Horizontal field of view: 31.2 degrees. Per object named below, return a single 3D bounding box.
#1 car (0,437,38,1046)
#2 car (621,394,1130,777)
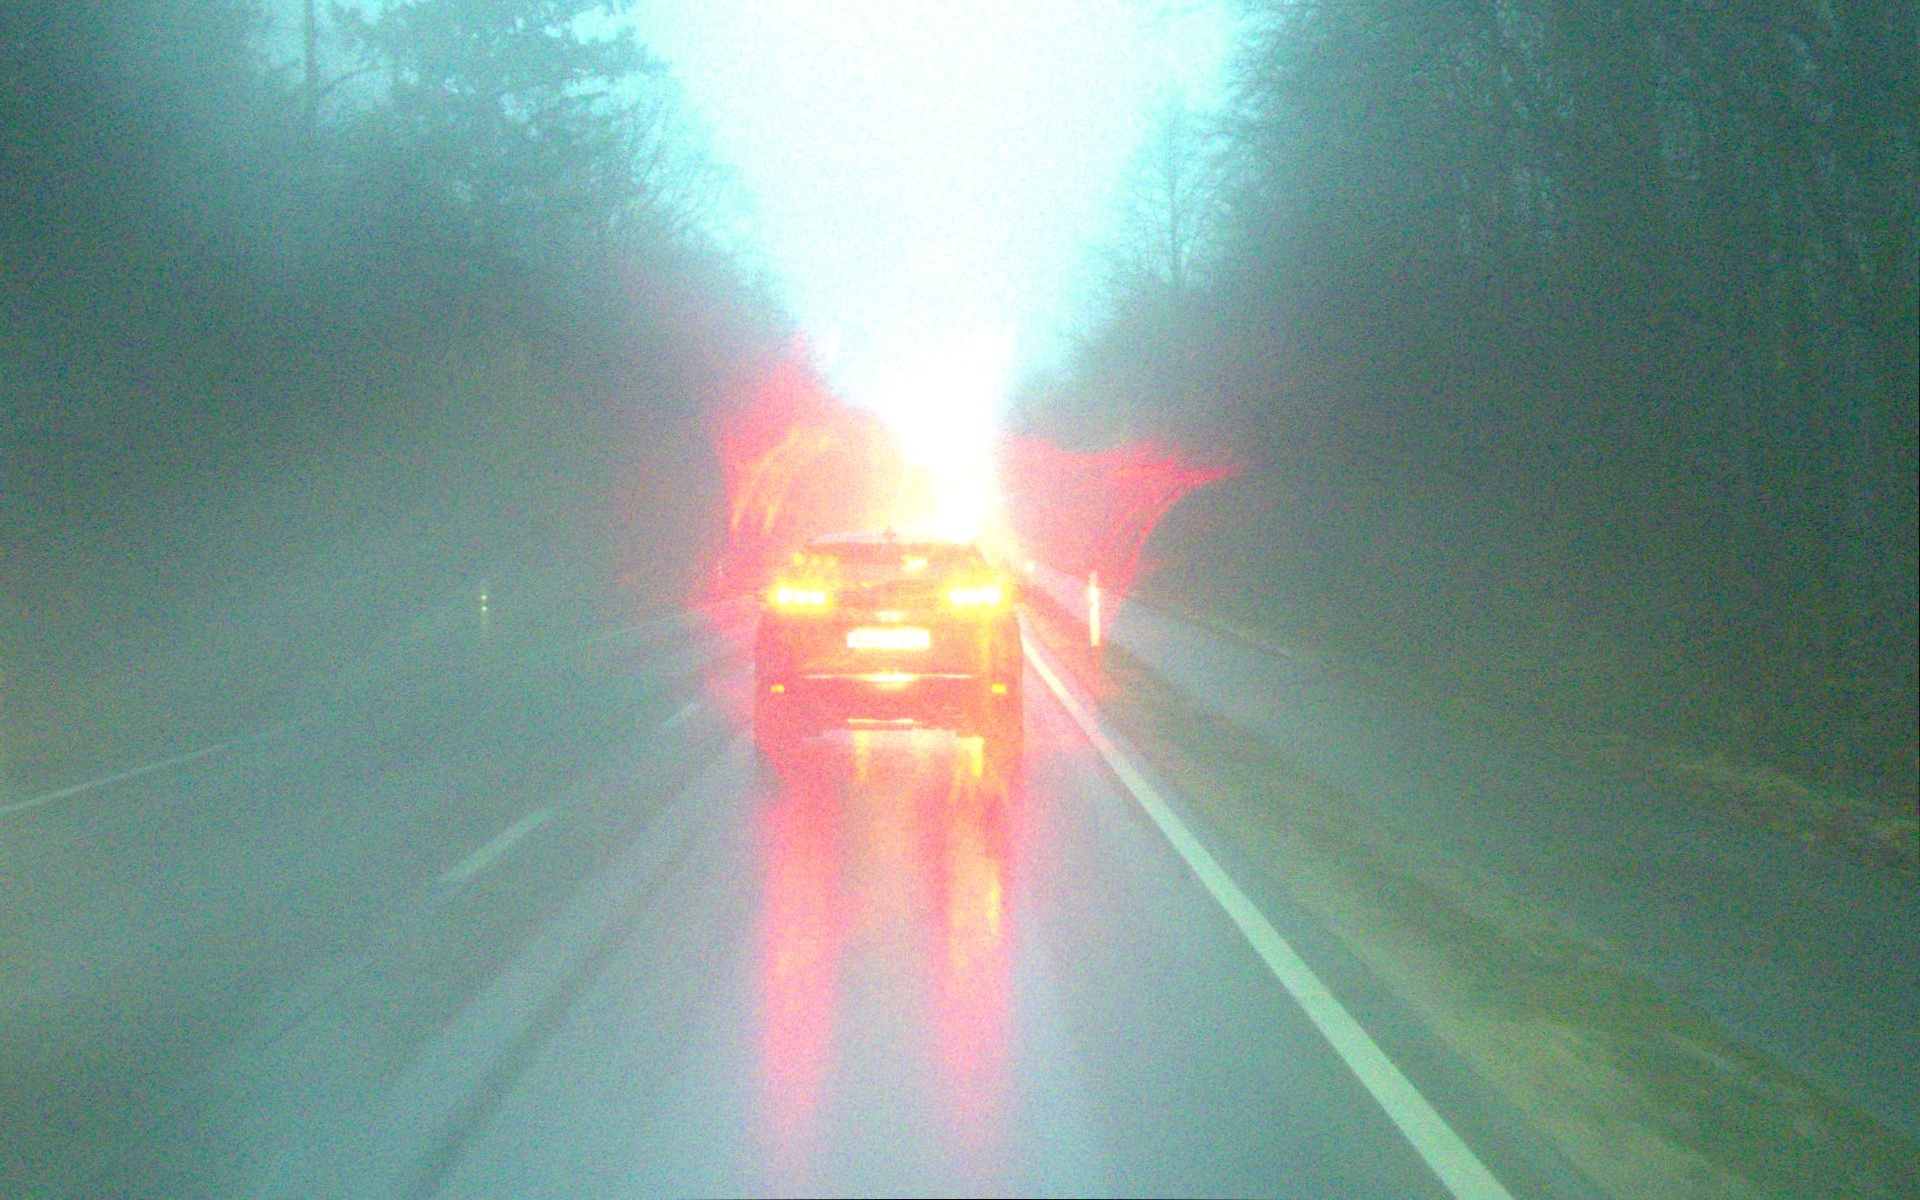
[{"bbox_3d":[-3.849,0.489,8.781,1.797,1.875,4.426,-2,1,-1],"label":"car"},{"bbox_3d":[-0.537,-0.153,24.936,3.183,2.378,6.637,0,1,0],"label":"car"}]
